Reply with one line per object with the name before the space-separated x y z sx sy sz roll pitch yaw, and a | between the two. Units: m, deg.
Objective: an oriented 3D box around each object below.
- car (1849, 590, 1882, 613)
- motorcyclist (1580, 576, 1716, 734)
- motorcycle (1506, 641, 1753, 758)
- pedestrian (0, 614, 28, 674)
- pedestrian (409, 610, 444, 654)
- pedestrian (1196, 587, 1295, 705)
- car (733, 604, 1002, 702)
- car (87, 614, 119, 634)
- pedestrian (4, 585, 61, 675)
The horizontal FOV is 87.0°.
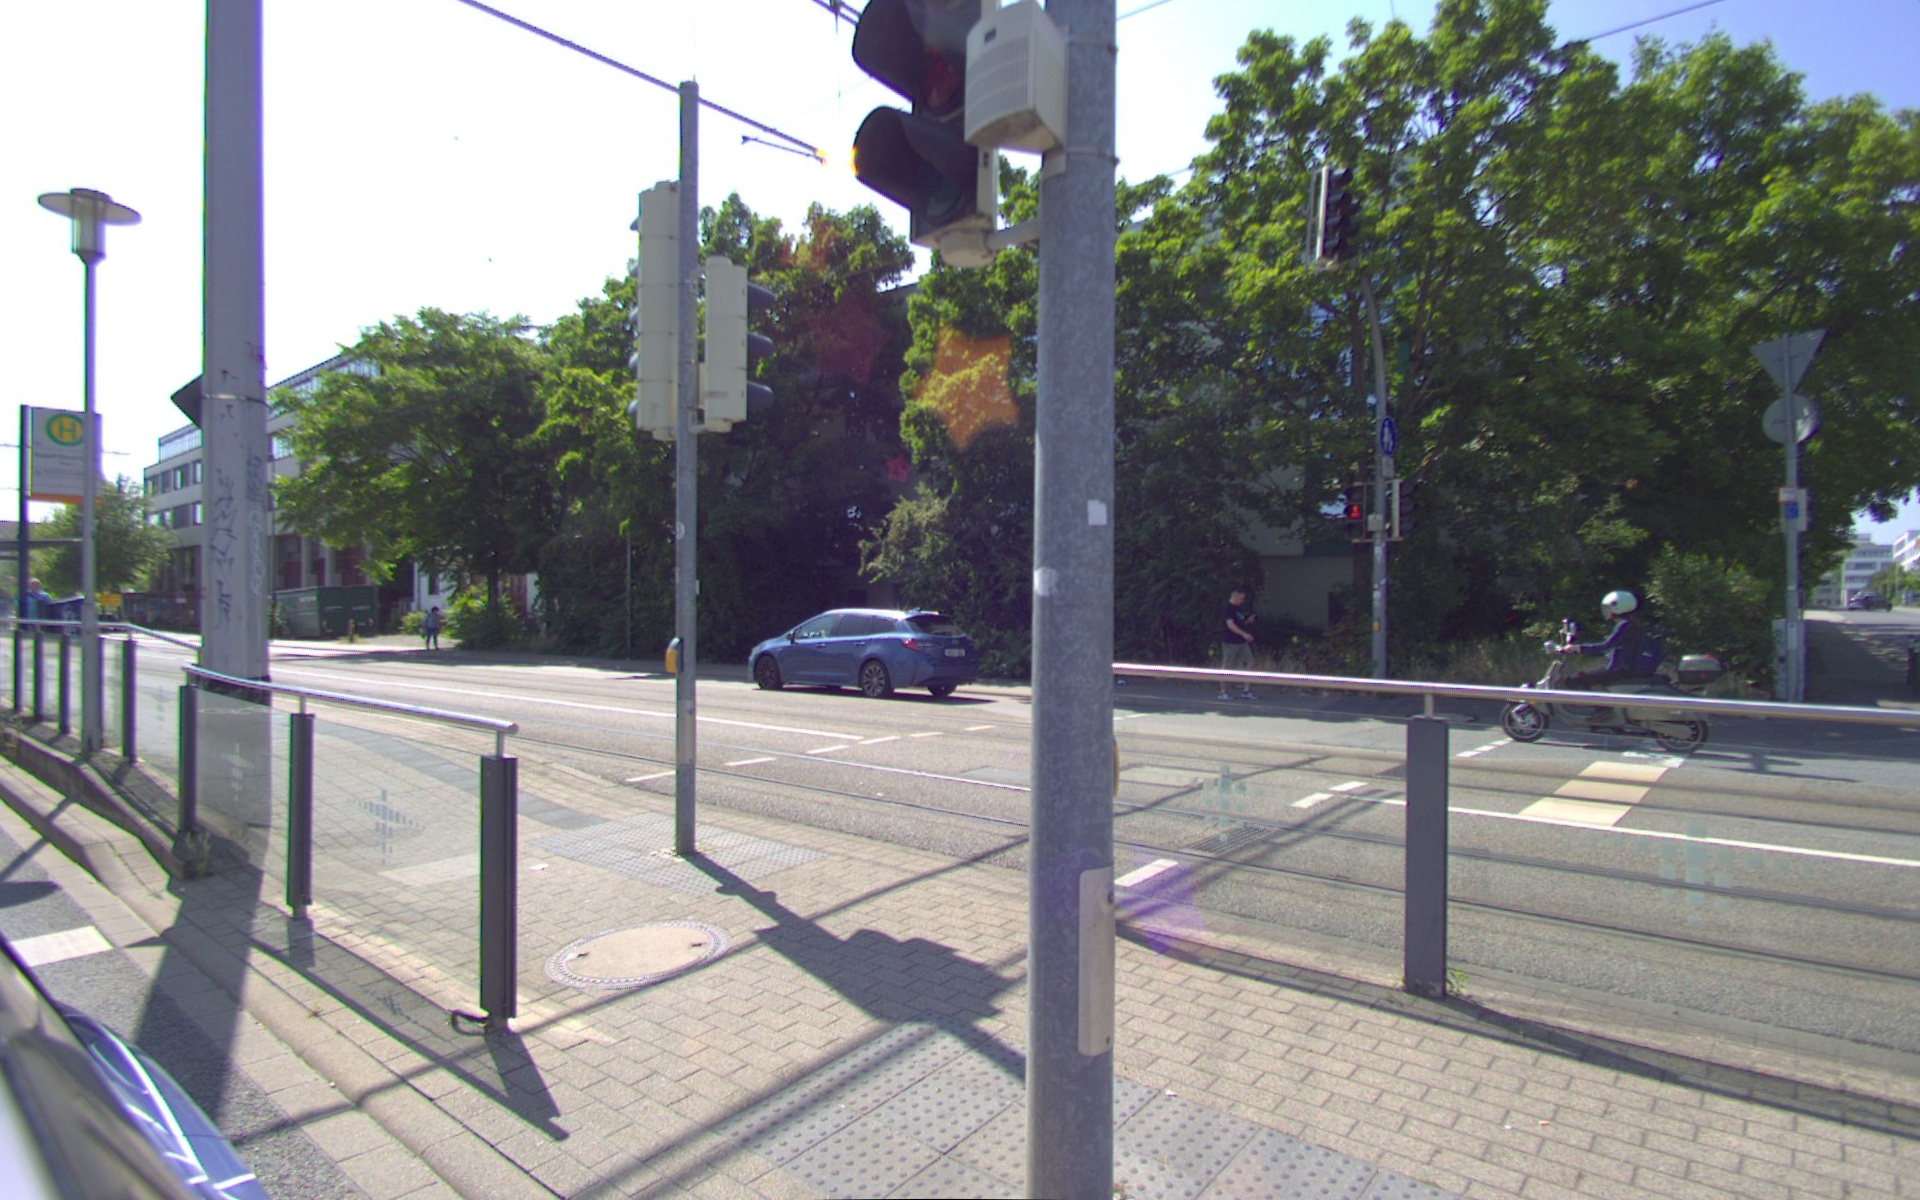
car | 83.334 0.158 93.132 3.940 2.029 1.917 0 -1 -44
motorcyclist | 6.930 0.527 10.200 0.826 1.486 0.964 0 -1 -44
motorcycle | 6.786 0.959 10.332 0.813 1.019 1.966 0 -1 -43
pedestrian | -18.270 0.840 19.088 0.725 1.107 0.933 -2 -1 40
pedestrian | -19.058 1.136 36.137 0.845 1.538 0.862 -1 -1 40
pedestrian | 4.357 0.662 15.455 1.159 1.682 0.877 0 3 40
car | -1.676 0.861 17.247 4.592 1.453 1.887 -1 -3 41
car | -73.798 2.086 87.129 1.969 1.635 4.005 2 -2 -42
pedestrian | -18.626 0.591 20.325 0.944 1.738 0.716 -2 -1 41
